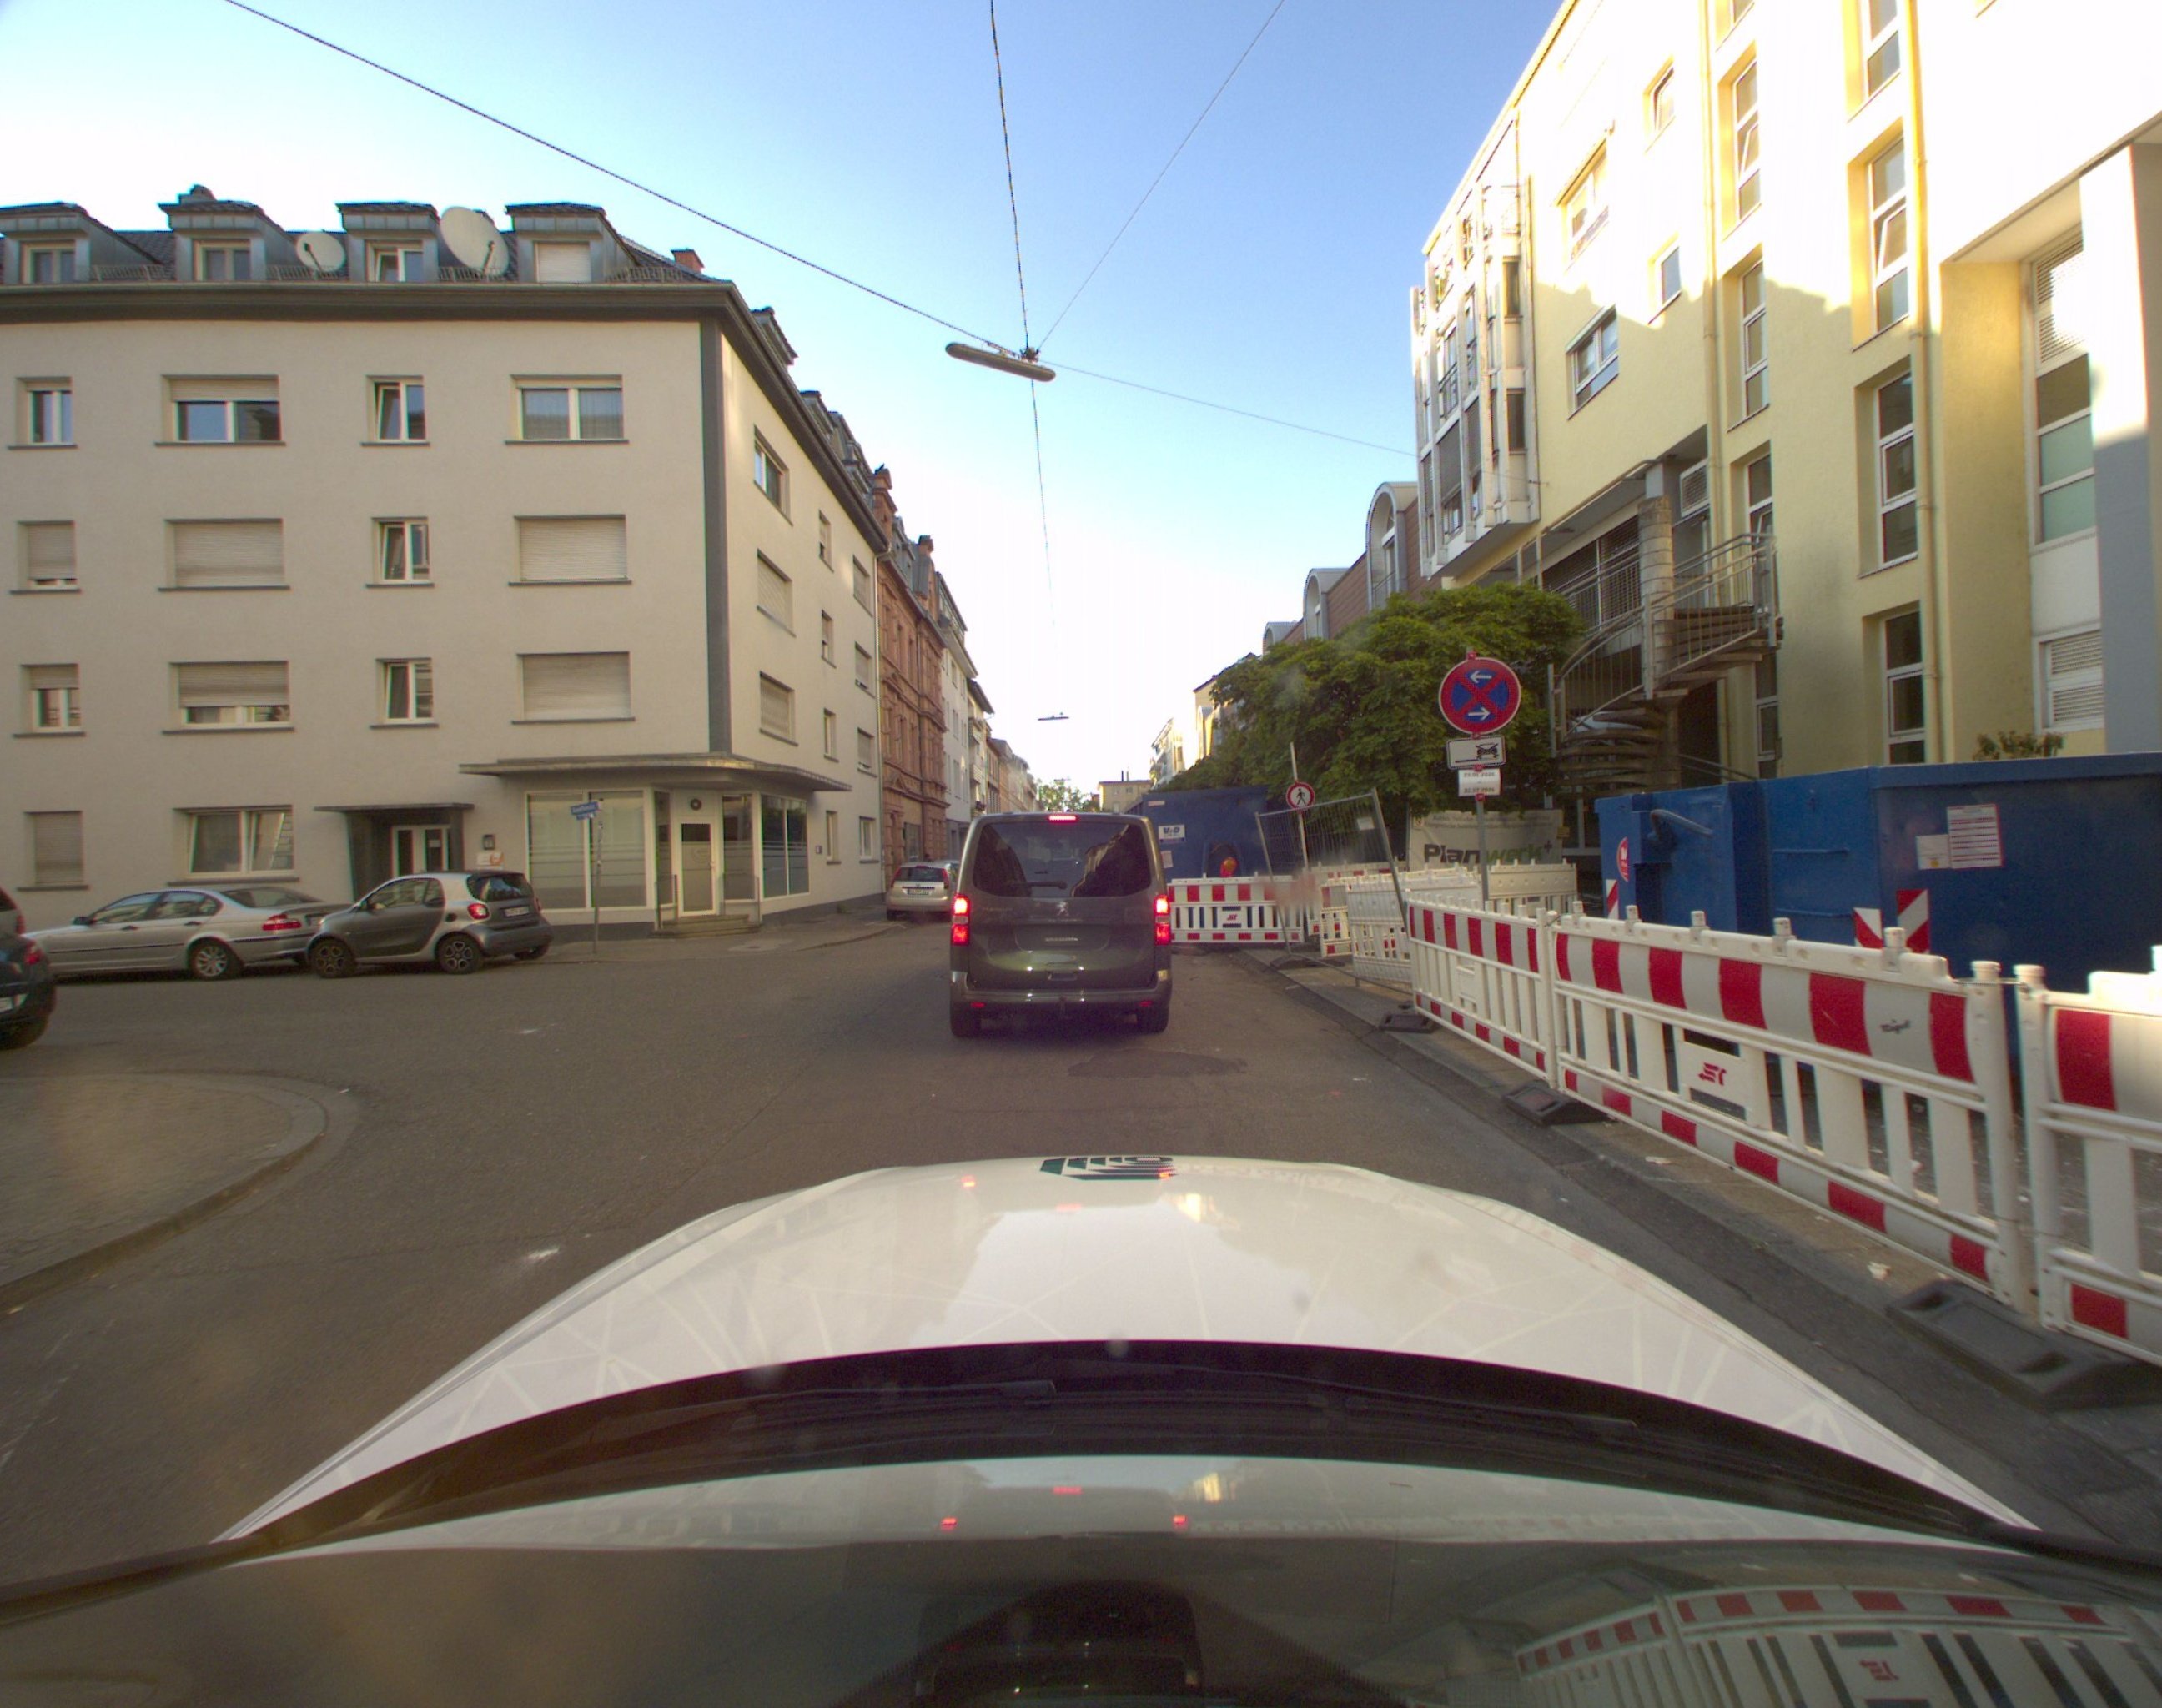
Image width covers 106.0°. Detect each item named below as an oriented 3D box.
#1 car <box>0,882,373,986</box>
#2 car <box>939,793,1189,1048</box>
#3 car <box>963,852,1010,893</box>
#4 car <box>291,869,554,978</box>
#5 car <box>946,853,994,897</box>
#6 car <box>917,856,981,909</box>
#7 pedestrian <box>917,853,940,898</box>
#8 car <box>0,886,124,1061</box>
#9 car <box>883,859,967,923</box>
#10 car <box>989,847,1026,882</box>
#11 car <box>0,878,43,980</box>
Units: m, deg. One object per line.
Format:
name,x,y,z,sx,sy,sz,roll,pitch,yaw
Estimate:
car,-14.077,1.211,12.907,4.193,1.403,1.602,-1,0,-2
car,-0.252,0.514,8.280,1.861,1.886,4.229,-1,-1,-4
car,-4.263,0.826,37.251,1.888,1.720,3.748,3,-1,-4
car,-10.159,1.027,12.724,2.777,1.540,1.593,-1,0,0
car,-4.547,0.848,33.610,1.663,1.666,3.087,3,-1,-4
car,-4.239,0.884,26.511,1.653,1.525,3.413,3,-1,-4
pedestrian,-5.764,0.800,30.840,0.738,1.664,0.702,-2,0,-5
car,-11.048,1.099,6.852,3.659,1.451,1.726,-2,0,-5
car,-3.971,0.900,21.189,1.653,1.460,3.413,3,-1,-4
car,-4.149,0.598,46.624,1.888,1.847,4.342,3,-1,-4
car,-19.113,1.214,12.550,4.007,1.604,1.602,-1,0,-2
